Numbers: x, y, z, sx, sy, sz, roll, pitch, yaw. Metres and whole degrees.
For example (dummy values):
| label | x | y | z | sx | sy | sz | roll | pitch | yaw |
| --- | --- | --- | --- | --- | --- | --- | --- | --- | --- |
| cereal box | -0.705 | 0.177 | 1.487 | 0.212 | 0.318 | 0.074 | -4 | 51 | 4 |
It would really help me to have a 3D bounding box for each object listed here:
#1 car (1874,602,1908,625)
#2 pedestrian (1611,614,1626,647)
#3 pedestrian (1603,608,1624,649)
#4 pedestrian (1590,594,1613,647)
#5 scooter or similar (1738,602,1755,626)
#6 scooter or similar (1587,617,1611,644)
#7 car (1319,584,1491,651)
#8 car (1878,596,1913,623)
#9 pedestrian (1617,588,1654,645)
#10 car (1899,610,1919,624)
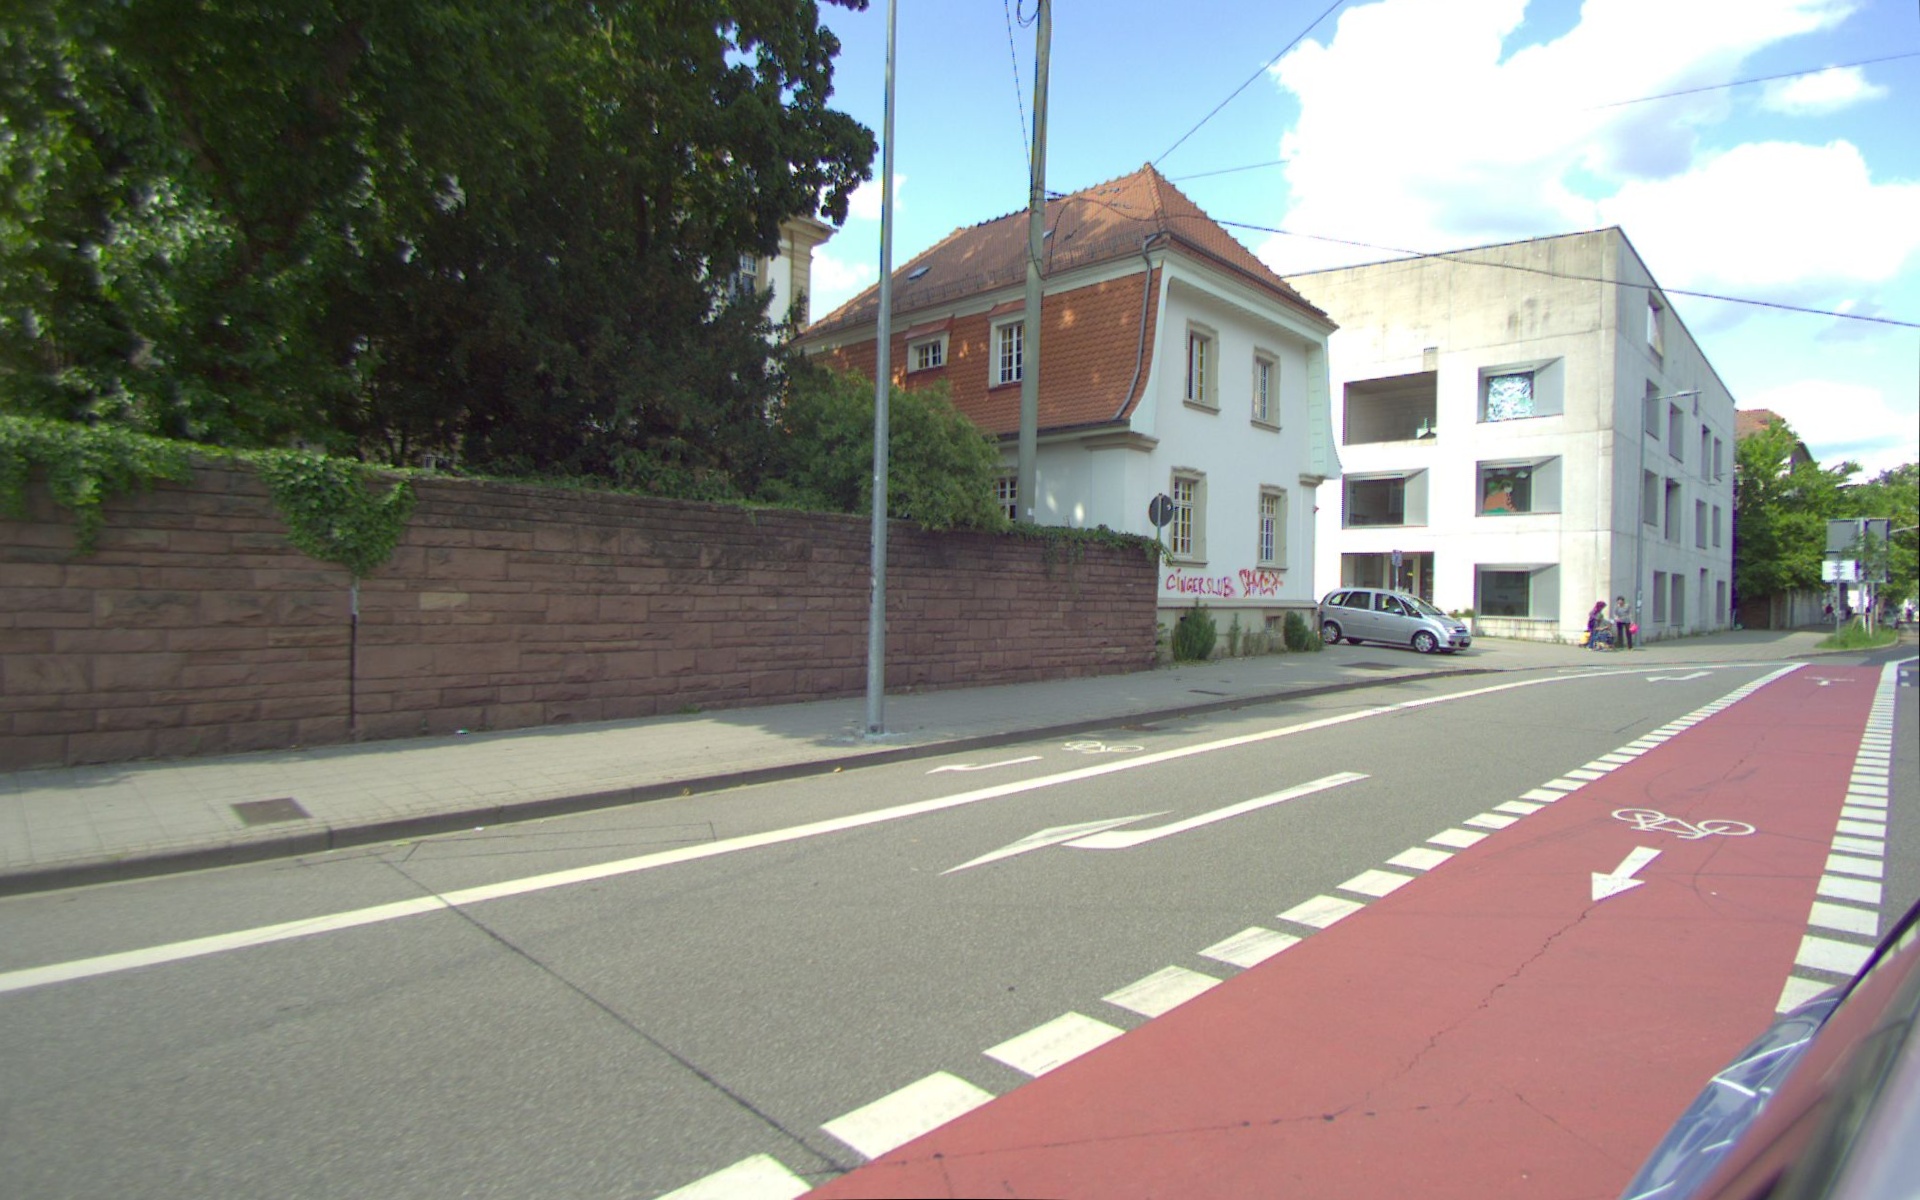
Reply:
| label | x | y | z | sx | sy | sz | roll | pitch | yaw |
| --- | --- | --- | --- | --- | --- | --- | --- | --- | --- |
| car | 65.963 | 0.964 | 71.677 | 1.707 | 1.517 | 4.714 | 2 | 1 | 43 |
| pedestrian | 20.627 | 0.947 | 31.700 | 0.341 | 1.023 | 0.392 | 3 | 0 | 35 |
| pedestrian | 20.031 | 0.864 | 31.022 | 0.418 | 1.216 | 0.403 | 3 | 0 | 23 |
| pedestrian | 19.944 | 0.625 | 31.471 | 0.517 | 1.600 | 0.542 | 3 | 0 | 34 |
| scooter or similar | 41.117 | 0.728 | 52.898 | 1.126 | 1.196 | 0.323 | 1 | 0 | -34 |
| scooter or similar | 20.510 | 0.982 | 32.476 | 0.544 | 0.810 | 0.266 | 5 | 1 | 21 |
| car | 11.936 | 0.440 | 27.297 | 1.636 | 1.625 | 3.885 | 3 | 0 | -42 |
| car | 71.482 | 0.733 | 77.313 | 1.895 | 1.965 | 4.873 | 2 | 1 | 43 |
| pedestrian | 21.593 | 0.529 | 32.342 | 0.732 | 1.746 | 0.687 | 3 | 0 | -34 |
| car | 104.472 | 1.825 | 111.411 | 1.585 | 1.463 | 3.837 | 1 | 0 | 43 |
